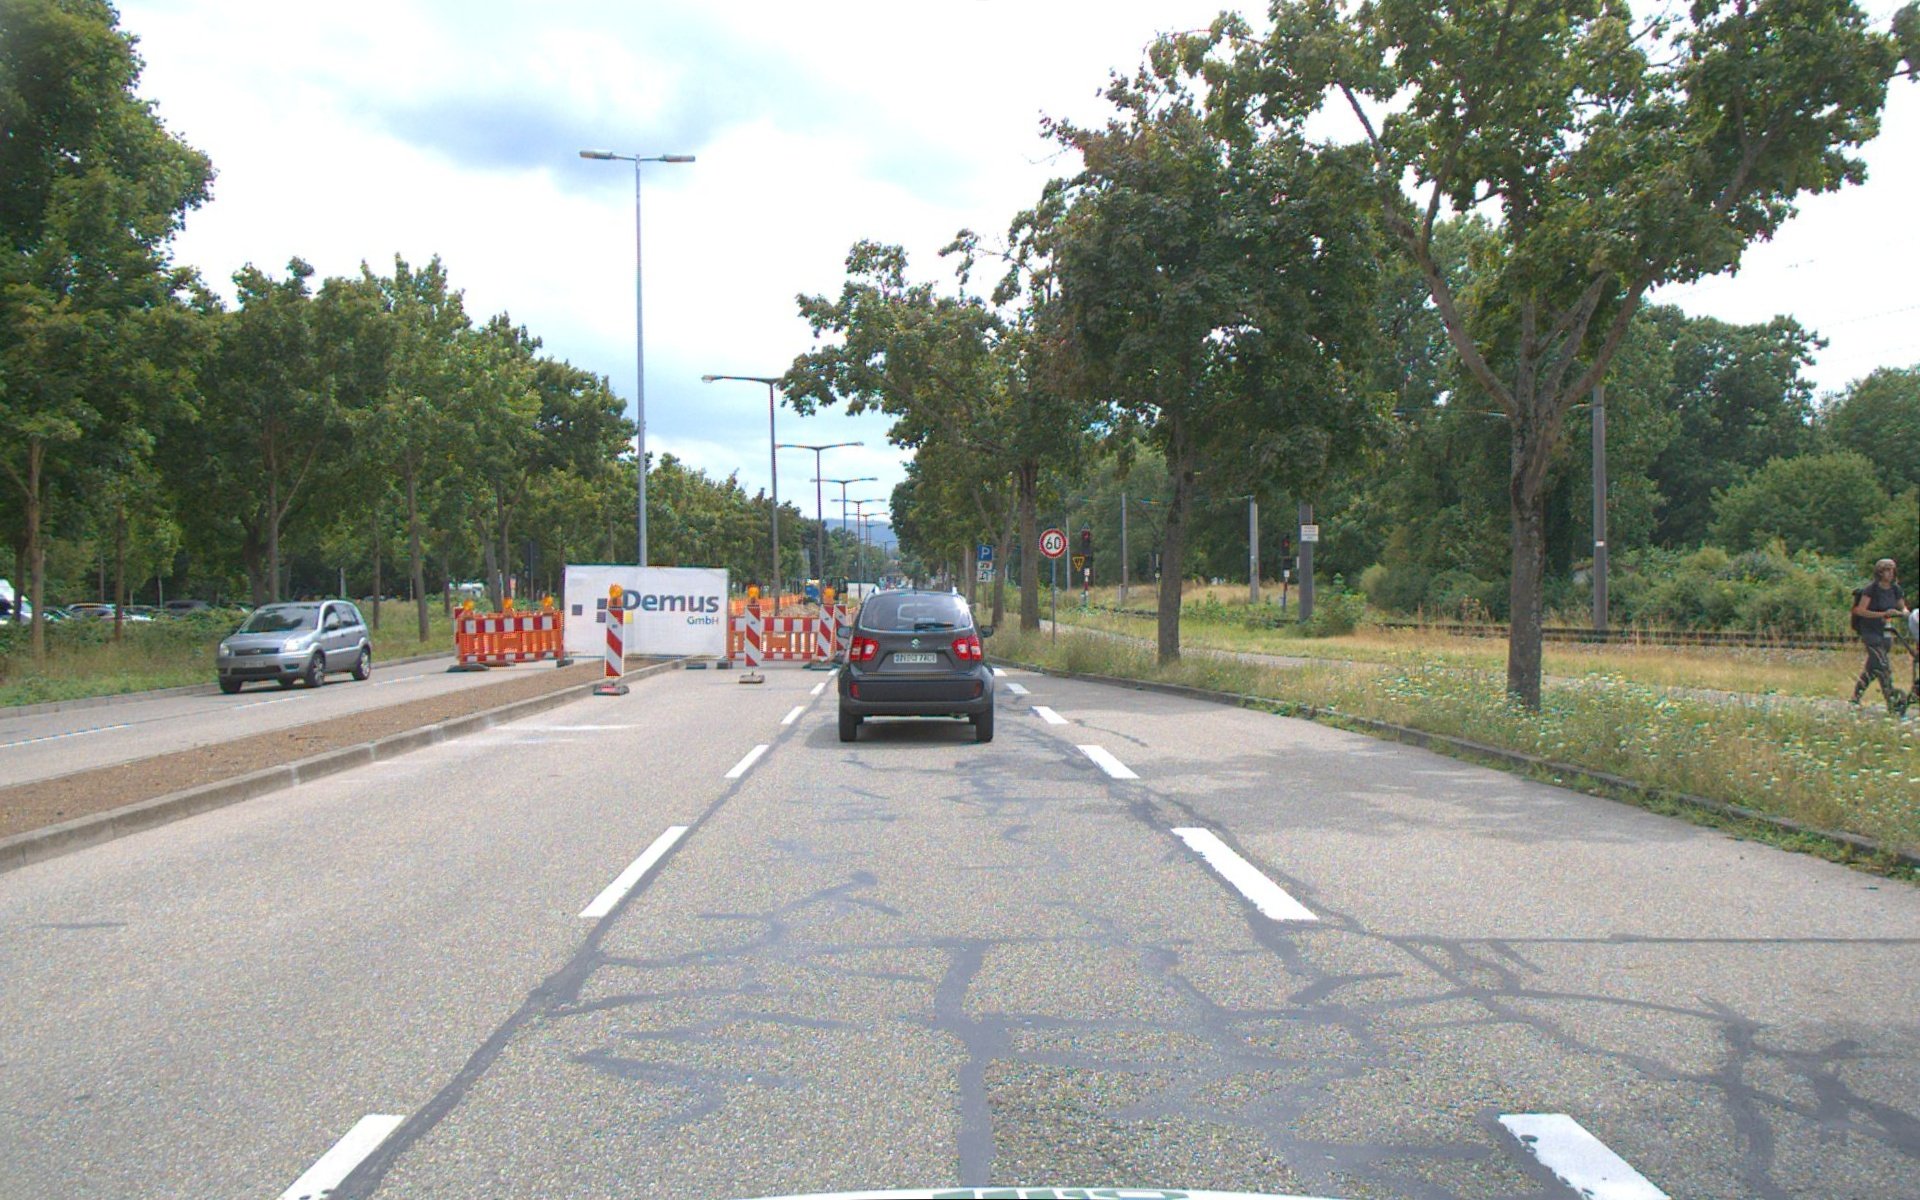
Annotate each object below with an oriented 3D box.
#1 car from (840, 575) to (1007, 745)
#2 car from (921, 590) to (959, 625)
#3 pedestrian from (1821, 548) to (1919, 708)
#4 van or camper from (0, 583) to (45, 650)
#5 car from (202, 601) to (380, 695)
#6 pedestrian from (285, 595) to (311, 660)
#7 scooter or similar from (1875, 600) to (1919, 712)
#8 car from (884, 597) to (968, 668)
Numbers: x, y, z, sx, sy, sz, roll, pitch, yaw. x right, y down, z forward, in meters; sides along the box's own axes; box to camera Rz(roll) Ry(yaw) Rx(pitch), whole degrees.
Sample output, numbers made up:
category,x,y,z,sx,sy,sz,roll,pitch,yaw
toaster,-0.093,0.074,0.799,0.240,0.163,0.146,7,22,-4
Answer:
category,x,y,z,sx,sy,sz,roll,pitch,yaw
car,-0.448,0.584,18.664,1.669,1.697,3.998,0,0,-2
car,-0.948,0.361,79.611,1.756,1.589,4.000,-1,1,0
pedestrian,10.136,0.293,18.295,0.677,1.725,0.933,-1,0,-6
van or camper,-41.043,0.691,69.640,3.906,2.804,1.926,-1,1,-1
car,-12.136,0.822,30.260,1.669,1.502,3.999,-2,1,-2
pedestrian,-19.324,0.790,48.246,0.681,1.870,0.647,-1,0,-23
scooter or similar,10.226,0.579,17.363,0.668,1.149,0.933,-1,1,-6
car,-0.837,0.702,38.256,1.732,1.489,3.997,-1,1,-4
